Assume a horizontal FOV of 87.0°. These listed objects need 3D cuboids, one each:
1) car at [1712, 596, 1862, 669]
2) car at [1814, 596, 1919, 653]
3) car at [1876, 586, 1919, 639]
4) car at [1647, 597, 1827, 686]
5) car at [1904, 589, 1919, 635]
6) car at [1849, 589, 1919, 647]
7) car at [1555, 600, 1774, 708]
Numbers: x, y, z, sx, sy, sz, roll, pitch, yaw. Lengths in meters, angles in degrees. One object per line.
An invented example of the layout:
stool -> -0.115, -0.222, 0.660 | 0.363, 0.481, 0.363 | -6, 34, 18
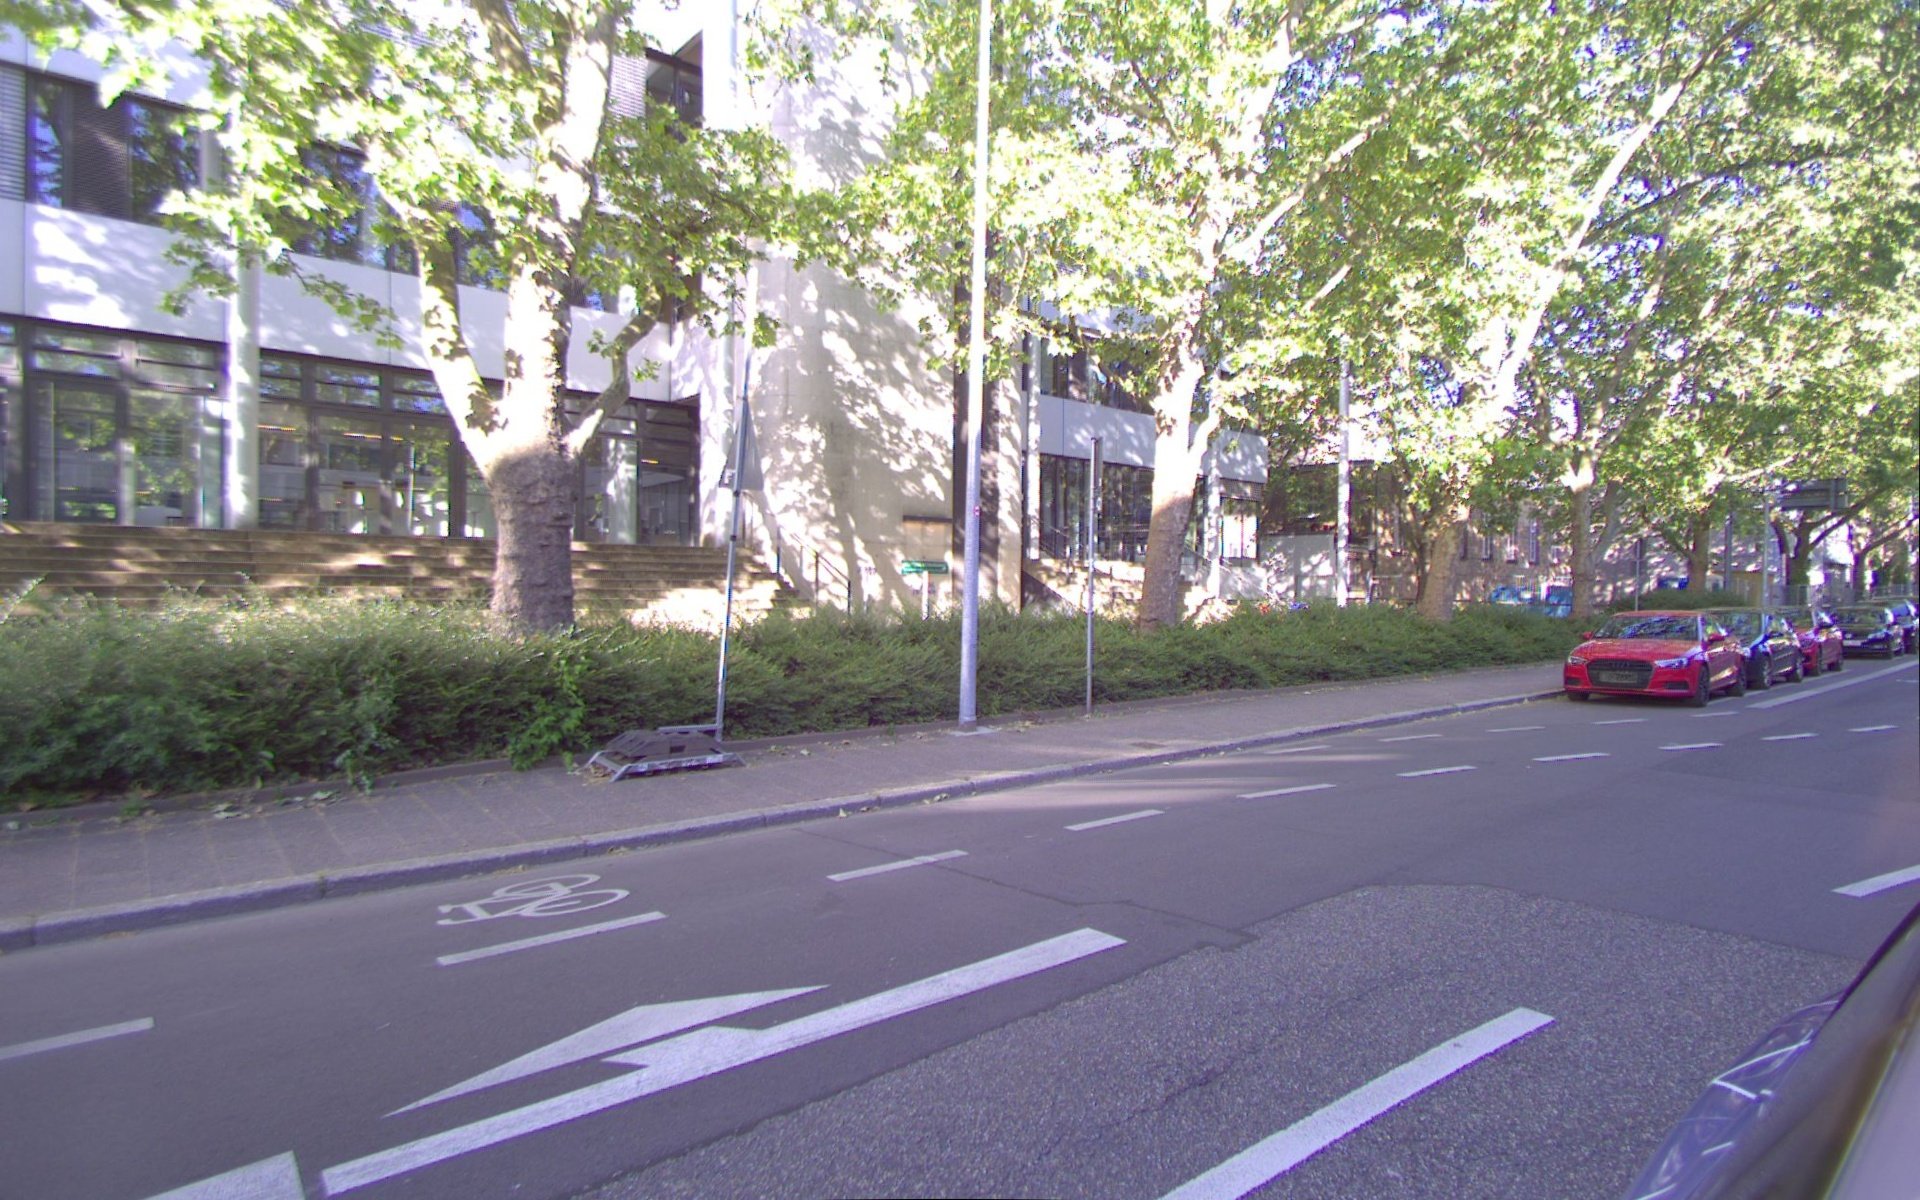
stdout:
car -> 18.428, 0.641, 22.474 | 4.403, 1.469, 1.865 | 0, 0, -41
car -> 25.784, 0.626, 28.607 | 4.403, 1.469, 1.865 | 0, 0, -41
car -> 33.901, 0.400, 35.693 | 4.403, 1.781, 1.865 | 0, 0, -41
car -> 14.760, 0.696, 19.136 | 4.403, 1.469, 1.865 | 0, 0, -41
car -> 38.868, 0.449, 39.962 | 4.403, 1.781, 1.865 | 0, 0, -41
car -> 29.564, 0.518, 31.802 | 4.403, 1.689, 1.865 | 0, 0, -41
car -> 11.312, 0.743, 16.136 | 4.403, 1.469, 1.865 | 0, 0, -41
